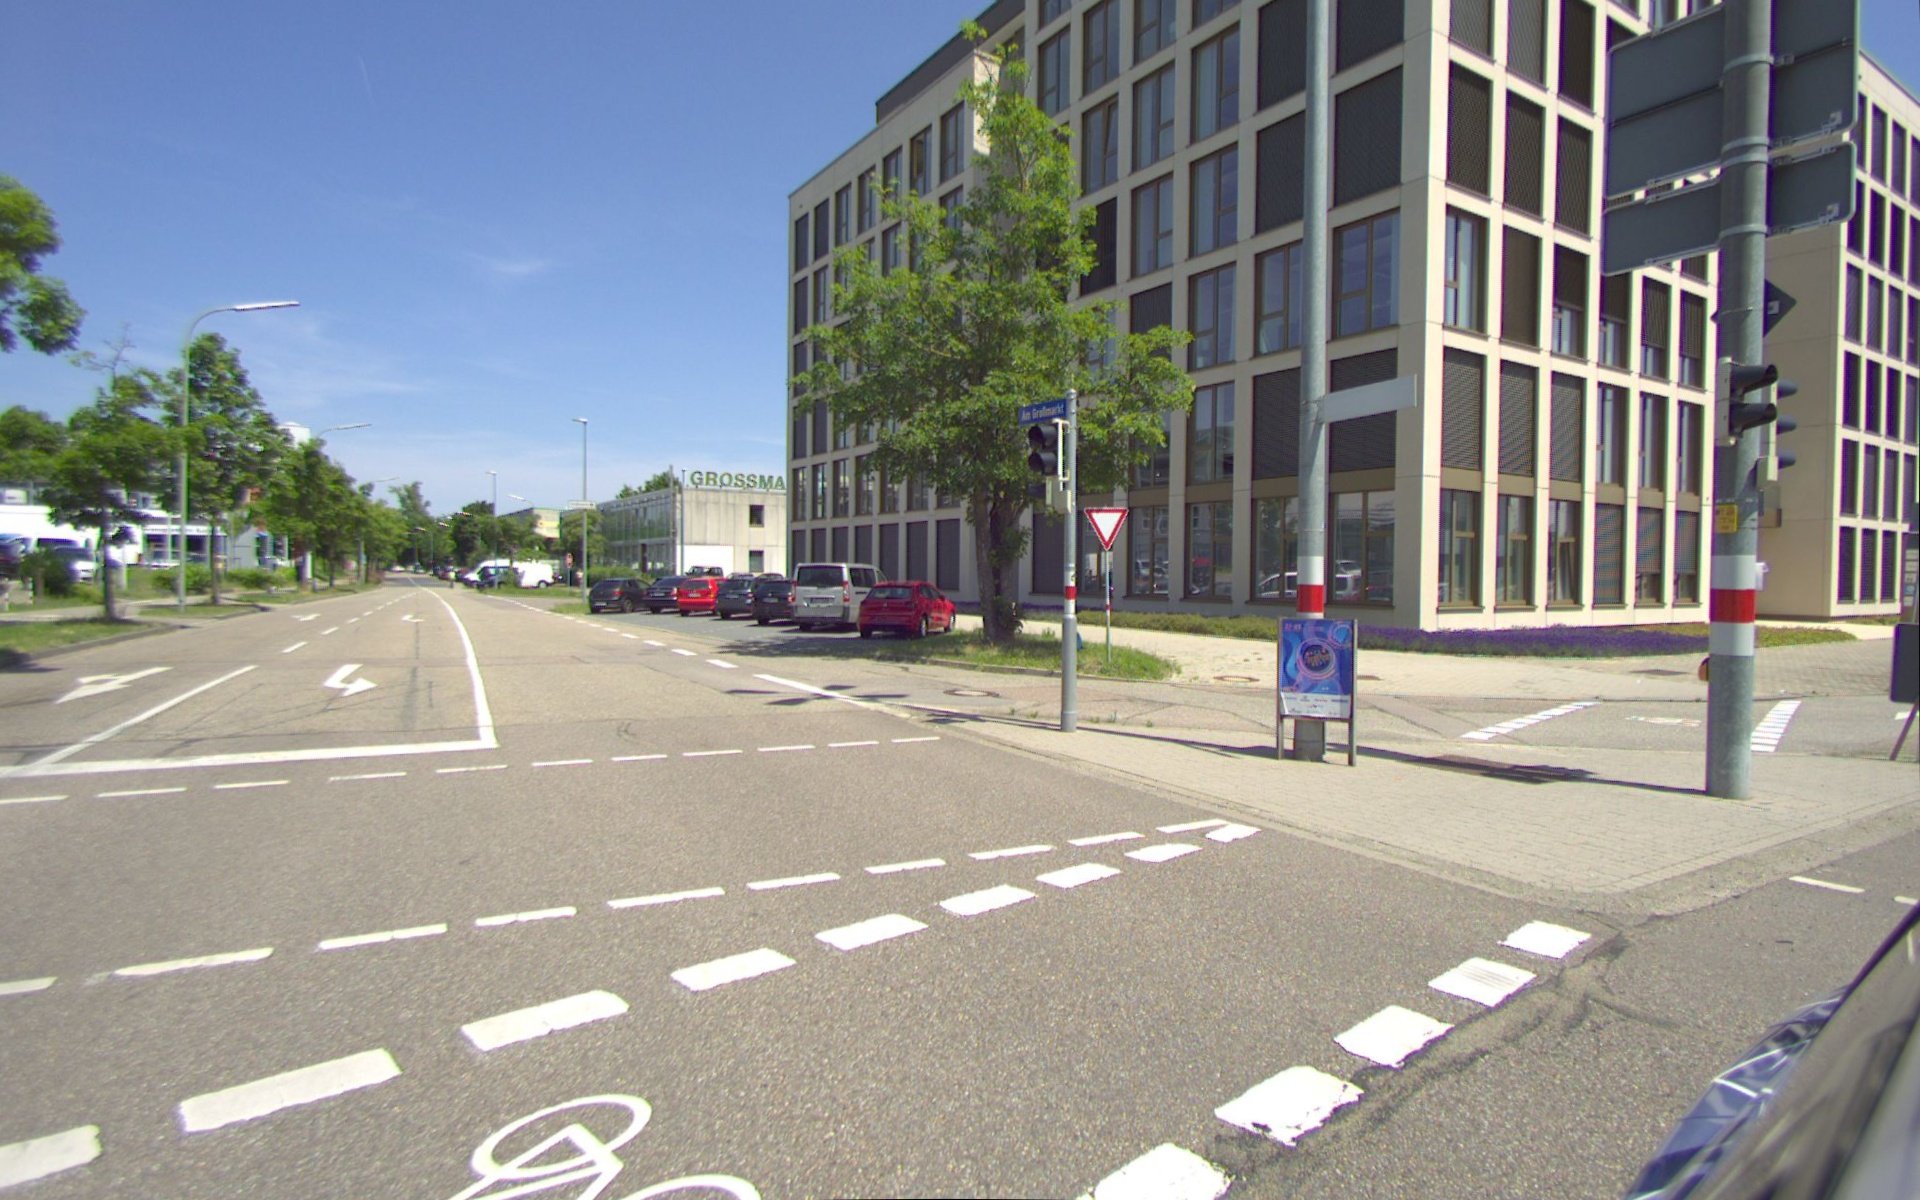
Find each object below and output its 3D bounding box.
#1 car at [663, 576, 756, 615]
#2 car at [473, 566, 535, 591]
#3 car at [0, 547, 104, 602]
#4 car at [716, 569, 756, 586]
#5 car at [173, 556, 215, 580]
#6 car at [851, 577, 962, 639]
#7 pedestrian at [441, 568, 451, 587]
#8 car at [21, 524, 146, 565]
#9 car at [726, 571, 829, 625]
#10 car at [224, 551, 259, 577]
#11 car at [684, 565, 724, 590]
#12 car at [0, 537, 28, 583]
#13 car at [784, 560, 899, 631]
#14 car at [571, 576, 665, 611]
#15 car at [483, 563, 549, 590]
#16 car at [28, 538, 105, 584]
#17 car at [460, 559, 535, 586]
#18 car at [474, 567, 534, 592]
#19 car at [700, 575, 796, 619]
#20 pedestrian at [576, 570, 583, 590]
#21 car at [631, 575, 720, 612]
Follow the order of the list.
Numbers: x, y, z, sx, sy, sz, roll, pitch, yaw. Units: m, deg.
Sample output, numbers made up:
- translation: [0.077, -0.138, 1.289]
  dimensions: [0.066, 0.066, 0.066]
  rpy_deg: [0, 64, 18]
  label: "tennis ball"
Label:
- translation: [-9.477, -0.222, 38.565]
  dimensions: [1.890, 1.370, 3.986]
  rpy_deg: [1, 1, 12]
  label: "car"
- translation: [-37.852, -1.764, 84.000]
  dimensions: [4.487, 2.039, 2.001]
  rpy_deg: [0, 0, -32]
  label: "car"
- translation: [-30.685, -0.870, 34.196]
  dimensions: [1.875, 1.715, 4.594]
  rpy_deg: [0, 2, -30]
  label: "car"
- translation: [-16.366, -1.620, 73.818]
  dimensions: [1.662, 1.171, 4.003]
  rpy_deg: [0, 0, -31]
  label: "car"
- translation: [-50.907, -2.122, 67.310]
  dimensions: [1.746, 1.540, 3.693]
  rpy_deg: [0, 2, -29]
  label: "car"
- translation: [-1.318, 0.137, 26.763]
  dimensions: [1.677, 1.450, 3.979]
  rpy_deg: [0, 2, 17]
  label: "car"
- translation: [-47.381, -2.086, 93.275]
  dimensions: [0.856, 1.697, 0.758]
  rpy_deg: [0, 1, -29]
  label: "pedestrian"
- translation: [-43.498, -2.729, 50.349]
  dimensions: [4.501, 1.910, 1.914]
  rpy_deg: [0, 2, -35]
  label: "car"
- translation: [-5.777, -0.102, 32.462]
  dimensions: [1.890, 1.609, 3.986]
  rpy_deg: [1, 1, 12]
  label: "car"
- translation: [-58.160, -2.903, 81.978]
  dimensions: [1.880, 2.038, 4.006]
  rpy_deg: [0, 2, -29]
  label: "car"
- translation: [-18.322, -1.584, 72.369]
  dimensions: [1.760, 1.750, 4.003]
  rpy_deg: [0, 0, -30]
  label: "car"
- translation: [-39.381, -1.602, 40.925]
  dimensions: [1.962, 1.727, 4.000]
  rpy_deg: [0, 0, -35]
  label: "car"
- translation: [-3.388, -0.170, 29.926]
  dimensions: [1.890, 1.910, 4.915]
  rpy_deg: [1, 1, 12]
  label: "car"
- translation: [-14.045, -0.301, 41.782]
  dimensions: [1.890, 1.349, 3.986]
  rpy_deg: [1, 1, 12]
  label: "car"
- translation: [-34.685, -1.794, 79.126]
  dimensions: [4.487, 2.039, 2.001]
  rpy_deg: [0, 0, -32]
  label: "car"
- translation: [-37.566, -1.595, 42.630]
  dimensions: [1.962, 1.727, 4.000]
  rpy_deg: [0, 0, -35]
  label: "car"
- translation: [-45.183, -2.679, 98.929]
  dimensions: [6.562, 2.552, 2.220]
  rpy_deg: [0, 0, -31]
  label: "car"
- translation: [-39.201, -1.751, 87.099]
  dimensions: [4.487, 2.039, 2.001]
  rpy_deg: [0, 0, -32]
  label: "car"
- translation: [-7.447, -0.162, 35.978]
  dimensions: [1.890, 1.457, 3.986]
  rpy_deg: [1, 1, 12]
  label: "car"
- translation: [-30.790, -1.625, 81.844]
  dimensions: [0.397, 1.579, 0.550]
  rpy_deg: [0, 1, -32]
  label: "pedestrian"
- translation: [-11.421, -0.290, 40.912]
  dimensions: [1.846, 1.392, 3.986]
  rpy_deg: [1, 1, 12]
  label: "car"
